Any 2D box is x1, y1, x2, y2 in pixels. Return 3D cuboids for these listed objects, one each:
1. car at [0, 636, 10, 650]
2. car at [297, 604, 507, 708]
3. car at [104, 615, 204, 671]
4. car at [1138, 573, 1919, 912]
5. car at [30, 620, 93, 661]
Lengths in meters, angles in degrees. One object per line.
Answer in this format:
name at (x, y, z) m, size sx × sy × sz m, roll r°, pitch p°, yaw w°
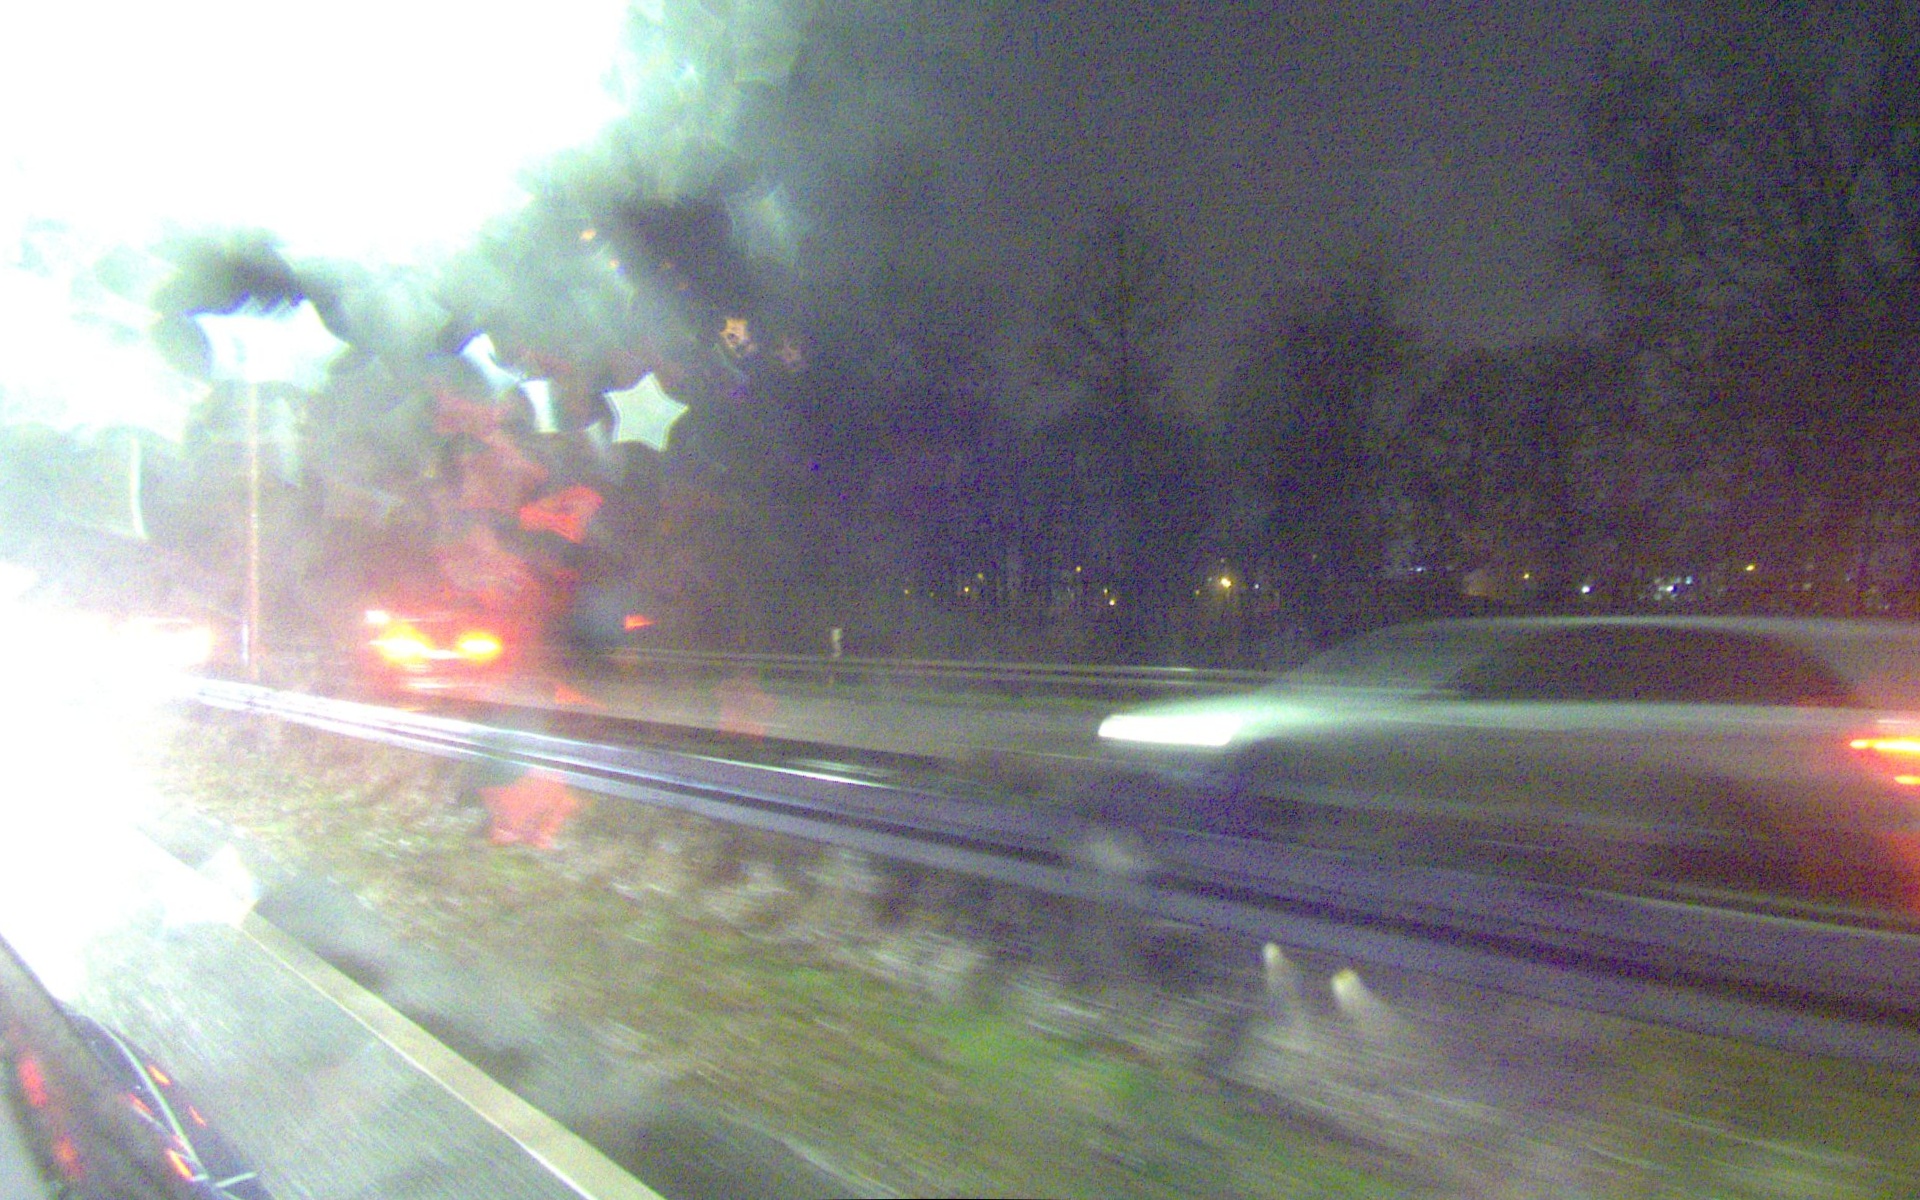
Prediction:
car at (-101.078, 4.488, 106.244) m, size 4.163 × 1.392 × 1.593 m, roll -2°, pitch -3°, yaw 42°
car at (-9.673, 0.961, 17.439) m, size 3.997 × 1.581 × 1.790 m, roll -2°, pitch -5°, yaw 40°
car at (-23.987, 1.263, 30.063) m, size 4.160 × 1.554 × 1.551 m, roll -1°, pitch -4°, yaw 41°
car at (3.436, 0.677, 5.811) m, size 4.455 × 1.405 × 1.799 m, roll -2°, pitch -5°, yaw 38°
car at (-37.967, 1.663, 42.734) m, size 4.000 × 1.663 × 1.602 m, roll -1°, pitch -2°, yaw 43°
